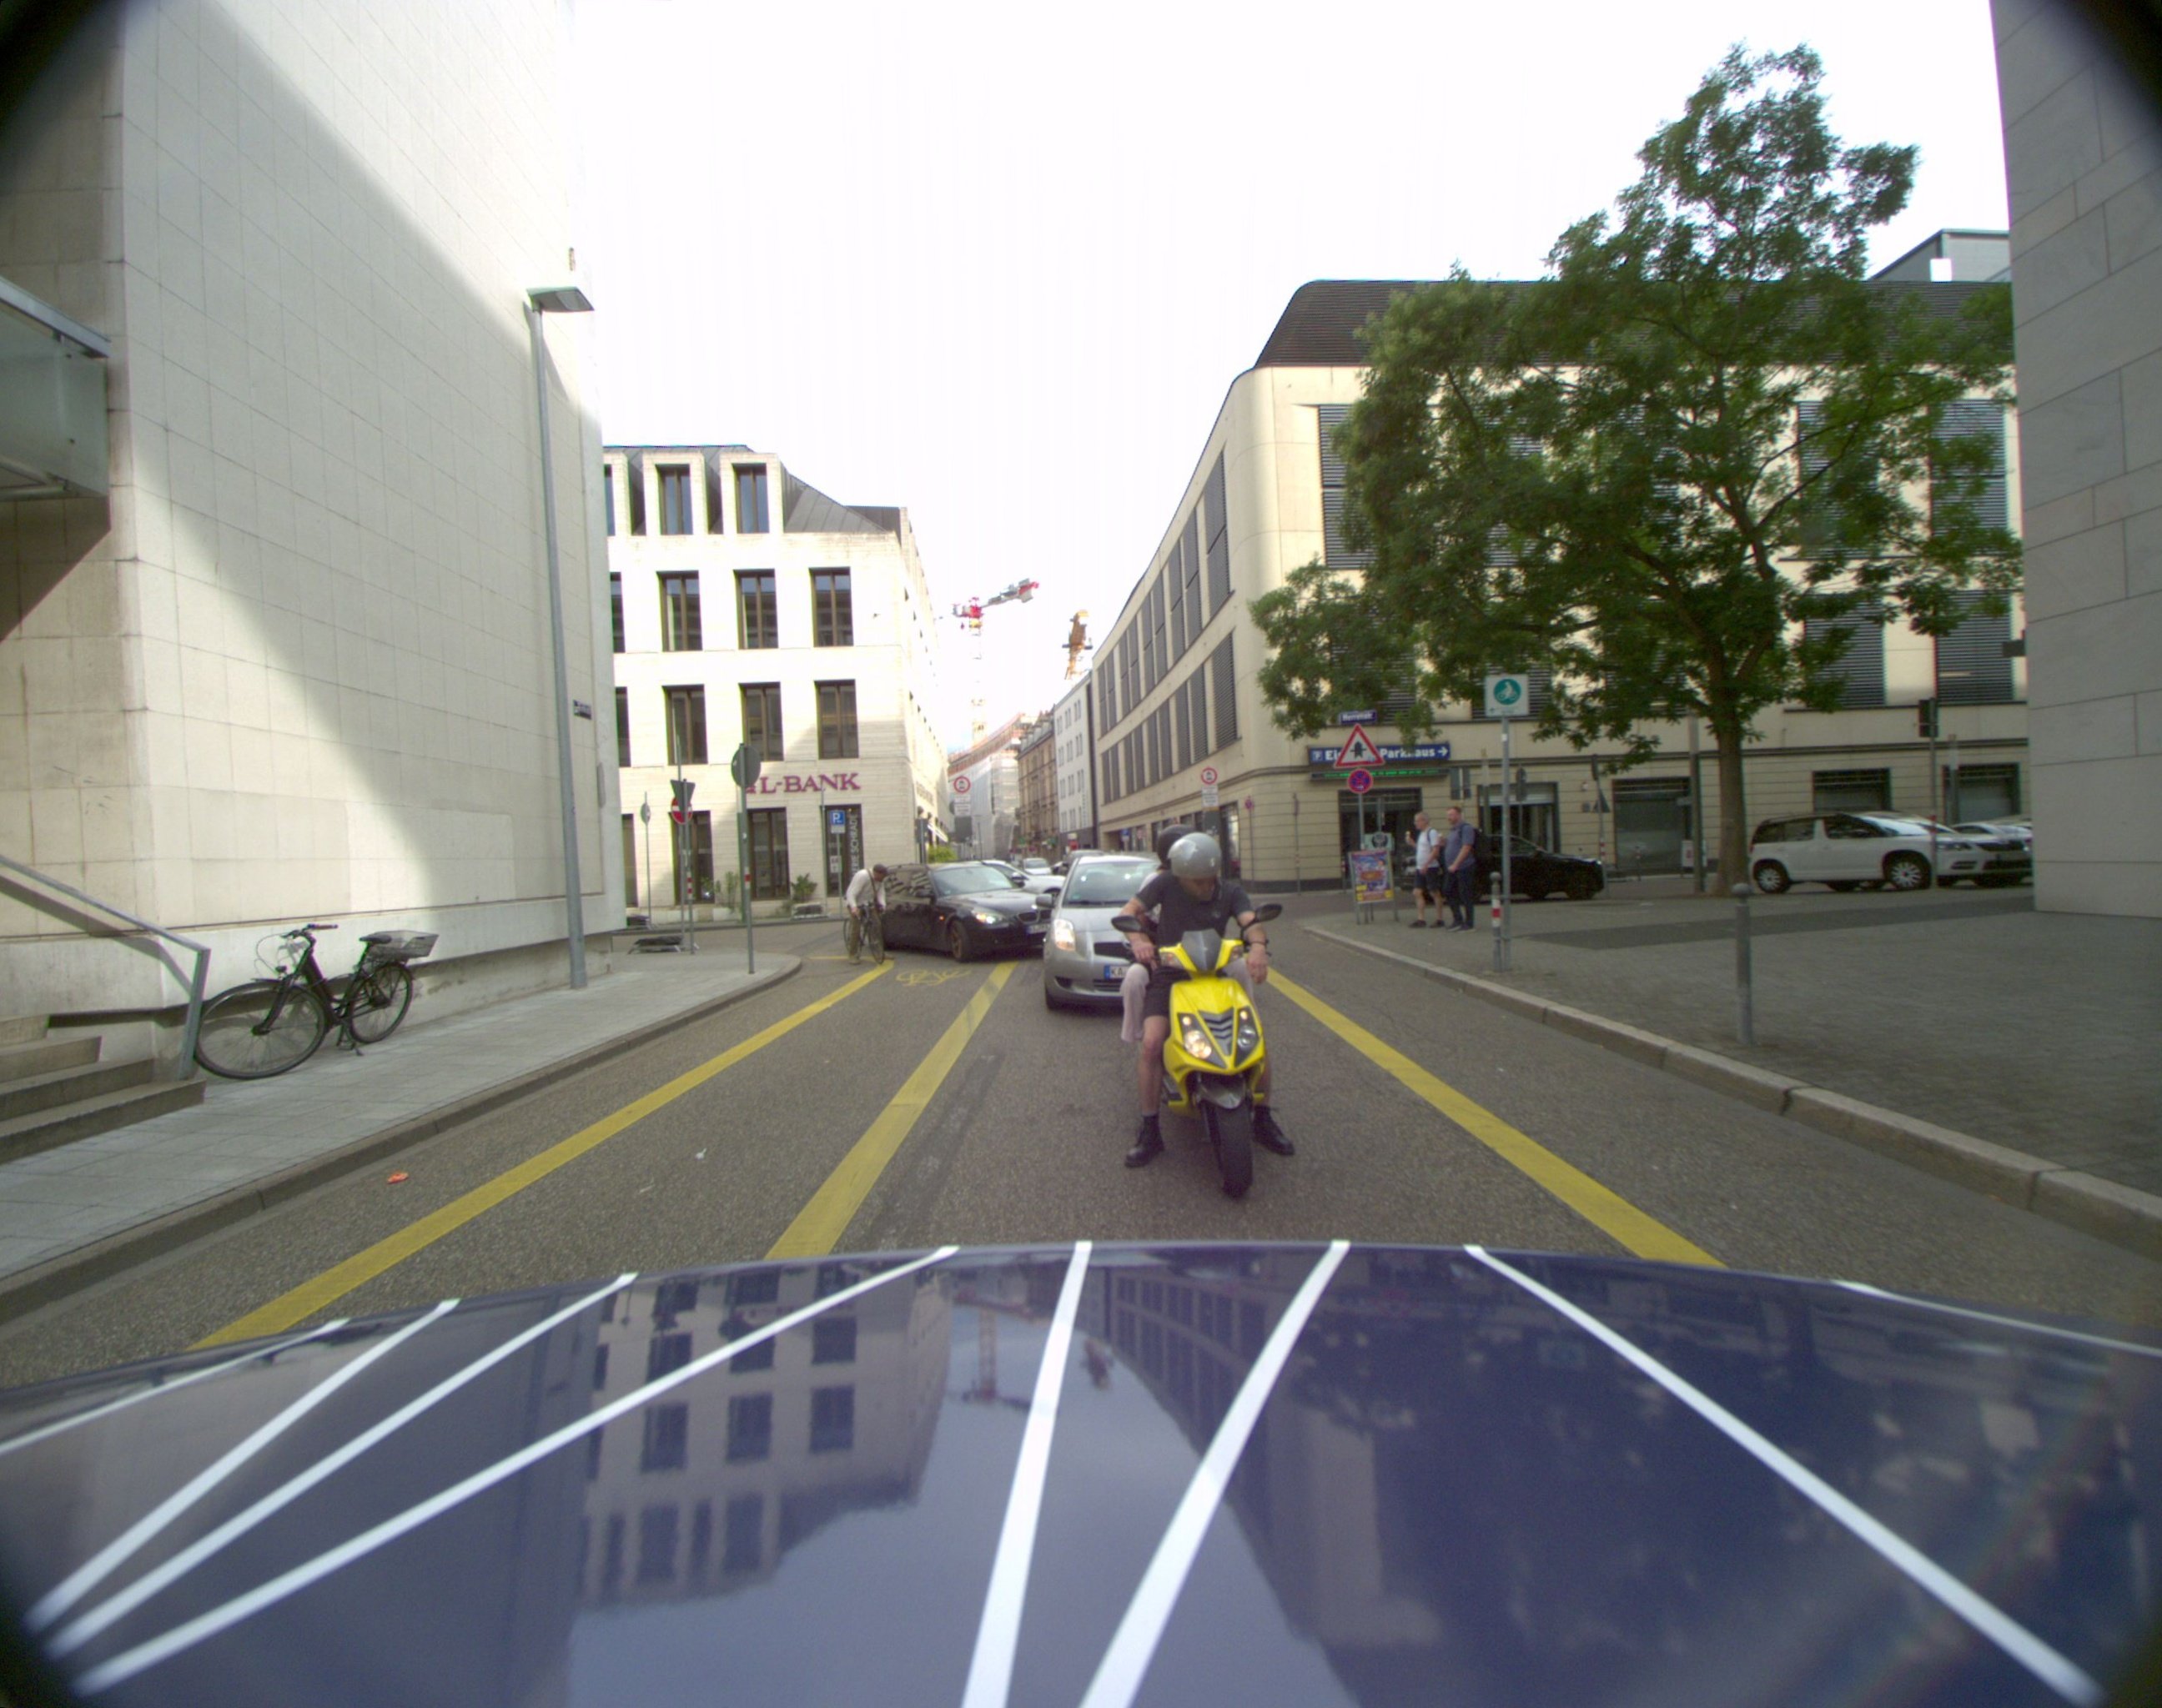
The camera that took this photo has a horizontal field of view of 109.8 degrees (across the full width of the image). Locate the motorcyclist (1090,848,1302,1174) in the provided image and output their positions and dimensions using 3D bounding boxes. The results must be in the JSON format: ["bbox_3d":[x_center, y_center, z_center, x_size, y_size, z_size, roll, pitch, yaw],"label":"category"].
[{"bbox_3d":[0.520,0.702,3.909,0.924,1.445,1.065,-1,0,1],"label":"motorcyclist"}]

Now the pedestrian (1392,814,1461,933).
[{"bbox_3d":[5.290,0.293,11.664,0.644,1.755,0.653,-3,1,-11],"label":"pedestrian"}]

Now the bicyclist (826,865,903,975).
[{"bbox_3d":[-3.374,0.986,11.826,0.894,1.585,0.875,-3,1,-30],"label":"bicyclist"}]

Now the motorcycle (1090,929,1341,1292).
[{"bbox_3d":[0.526,1.076,3.929,0.929,1.158,2.127,-1,0,1],"label":"motorcycle"}]

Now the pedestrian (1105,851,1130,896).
[{"bbox_3d":[1.514,0.821,31.825,0.862,1.820,0.773,-2,1,-8],"label":"pedestrian"}]

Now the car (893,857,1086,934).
[{"bbox_3d":[-2.123,0.946,18.384,4.364,1.572,1.814,-2,1,-2],"label":"car"}]

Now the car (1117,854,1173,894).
[{"bbox_3d":[2.713,0.812,33.118,1.563,1.547,4.100,-3,1,-7],"label":"car"}]

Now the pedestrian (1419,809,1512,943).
[{"bbox_3d":[5.533,0.304,10.958,0.745,1.804,0.756,-6,1,-11],"label":"pedestrian"}]

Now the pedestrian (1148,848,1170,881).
[{"bbox_3d":[4.360,0.595,42.545,0.892,1.755,1.060,-6,1,-5],"label":"pedestrian"}]

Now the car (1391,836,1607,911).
[{"bbox_3d":[10.259,0.454,18.876,4.364,1.592,1.814,-2,1,-2],"label":"car"}]

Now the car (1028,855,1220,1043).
[{"bbox_3d":[0.429,0.813,8.344,1.562,1.482,3.784,-3,1,2],"label":"car"}]

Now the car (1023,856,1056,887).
[{"bbox_3d":[-2.397,0.951,43.262,1.563,1.547,4.100,-3,1,-7],"label":"car"}]

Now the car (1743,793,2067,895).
[{"bbox_3d":[15.907,-0.079,15.049,1.899,1.682,3.964,-2,-3,-3],"label":"car"}]

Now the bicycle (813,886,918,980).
[{"bbox_3d":[-3.474,1.159,12.002,0.872,1.188,2.857,-3,1,-30],"label":"bicycle"}]

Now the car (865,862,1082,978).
[{"bbox_3d":[-1.860,0.932,12.187,1.720,1.482,3.755,-3,1,-38],"label":"car"}]

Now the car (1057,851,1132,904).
[{"bbox_3d":[0.337,0.677,24.492,1.710,1.482,4.100,-3,1,-8],"label":"car"}]

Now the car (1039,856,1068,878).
[{"bbox_3d":[-2.125,0.966,58.056,1.564,1.475,3.983,-3,1,-11],"label":"car"}]

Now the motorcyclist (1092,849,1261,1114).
[{"bbox_3d":[0.529,0.699,4.521,0.903,1.445,0.742,-1,0,1],"label":"motorcyclist"}]

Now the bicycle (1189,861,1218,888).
[{"bbox_3d":[5.349,0.883,33.274,0.692,1.038,2.543,-2,1,-4],"label":"bicycle"}]

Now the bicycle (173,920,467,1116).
[{"bbox_3d":[-5.996,1.210,6.166,0.590,1.160,1.814,-2,1,-4],"label":"bicycle"}]

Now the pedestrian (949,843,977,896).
[{"bbox_3d":[-4.216,0.550,27.084,0.774,1.820,0.860,-3,1,-20],"label":"pedestrian"}]
